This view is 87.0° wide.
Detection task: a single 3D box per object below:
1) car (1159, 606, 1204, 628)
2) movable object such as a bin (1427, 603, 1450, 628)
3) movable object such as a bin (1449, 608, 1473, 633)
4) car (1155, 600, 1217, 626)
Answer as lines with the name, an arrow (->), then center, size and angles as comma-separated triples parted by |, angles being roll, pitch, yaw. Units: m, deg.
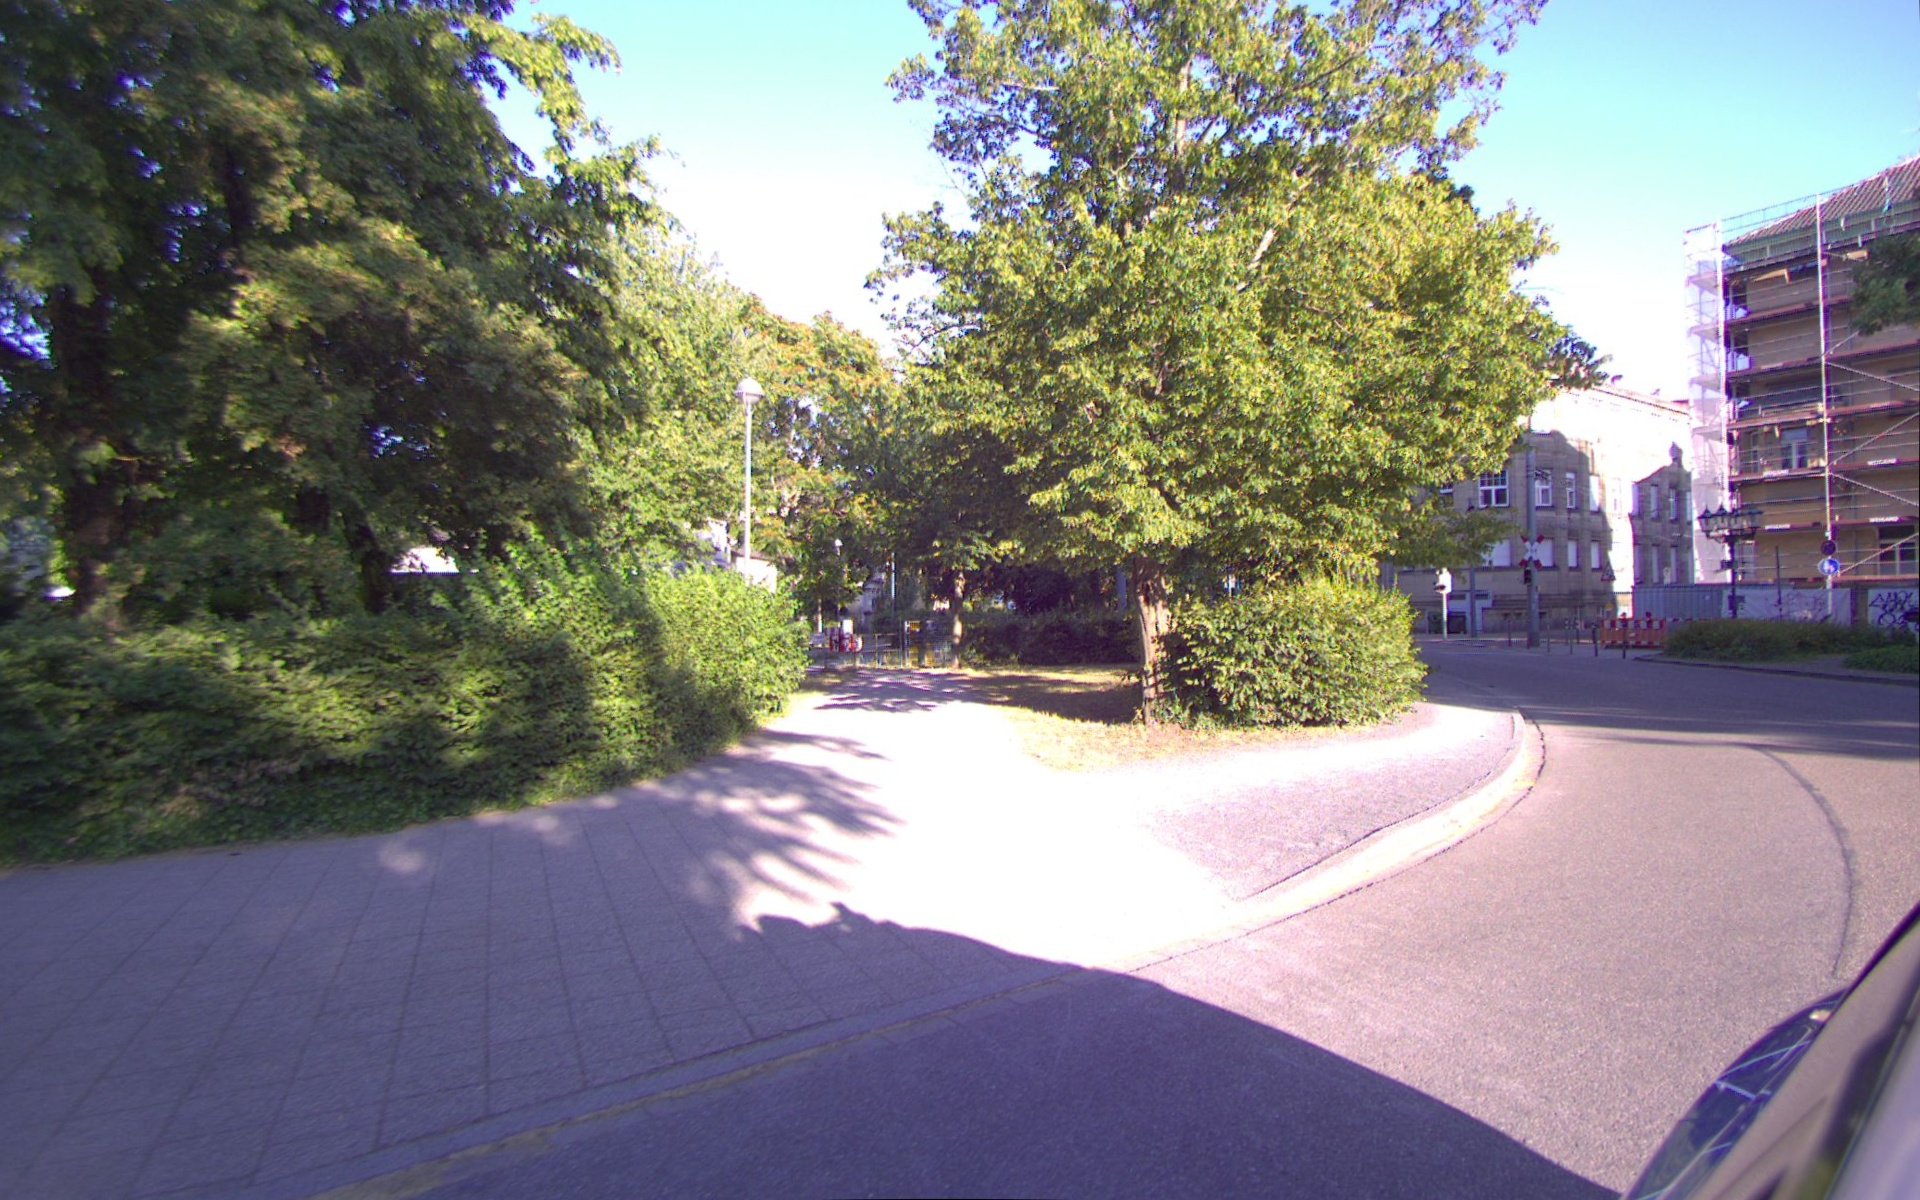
car -> 17.380, 1.296, 79.329 | 3.359, 1.652, 1.671 | 1, -1, 16
movable object such as a bin -> 29.301, 0.926, 61.990 | 1.137, 1.505, 1.614 | -1, -1, 24
movable object such as a bin -> 29.948, 1.202, 60.543 | 1.173, 1.447, 1.906 | -1, -1, 23
car -> 18.272, 1.065, 82.025 | 4.735, 2.023, 2.073 | 1, -1, 12
